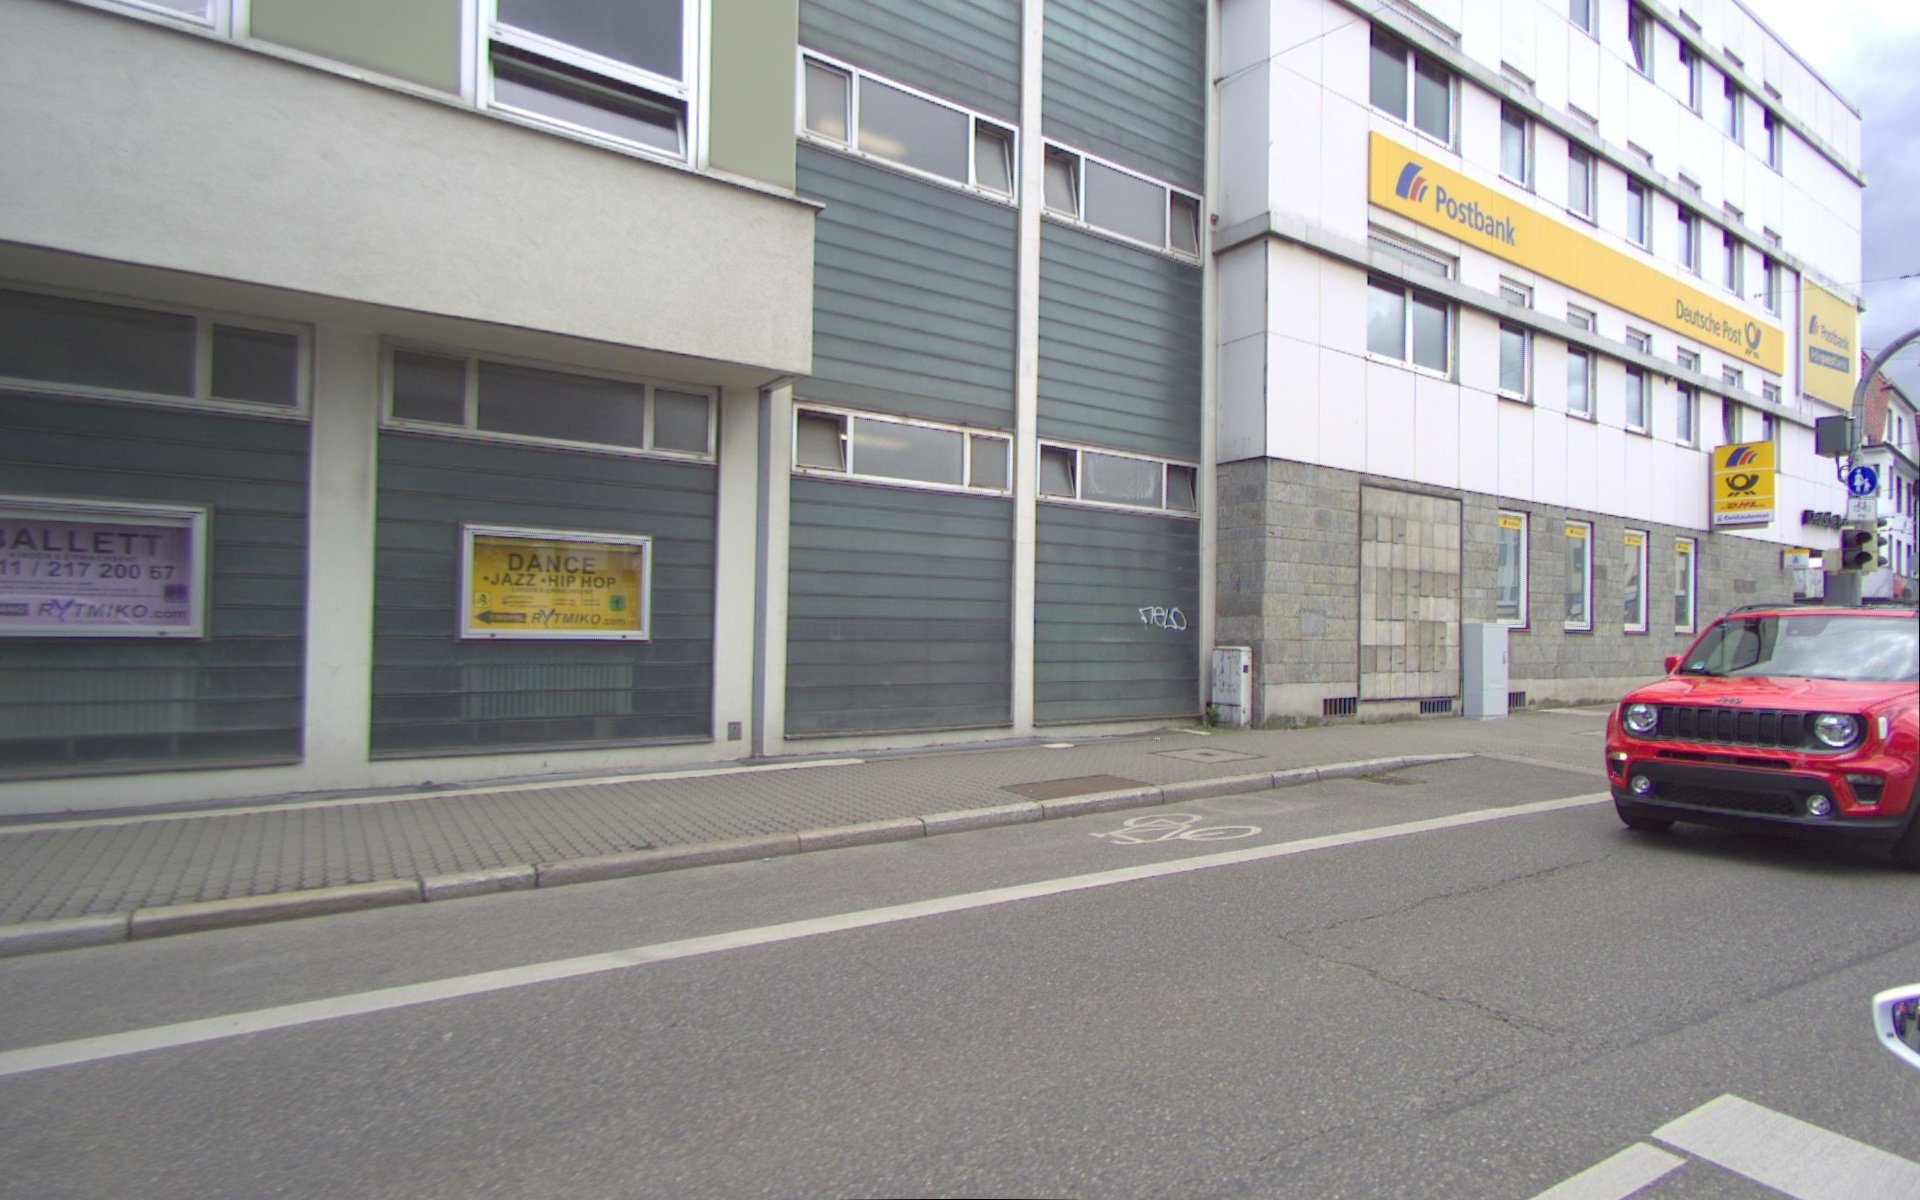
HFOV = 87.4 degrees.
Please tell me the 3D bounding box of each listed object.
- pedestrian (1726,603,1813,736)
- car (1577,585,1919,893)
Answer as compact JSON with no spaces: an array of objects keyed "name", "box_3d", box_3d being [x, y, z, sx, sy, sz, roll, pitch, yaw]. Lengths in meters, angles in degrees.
[{"name":"pedestrian","box_3d":[10.995,0.925,13.647,0.772,1.741,0.645,1,0,-26]},{"name":"car","box_3d":[6.480,0.845,7.441,3.856,1.717,1.789,1,-2,-33]}]
